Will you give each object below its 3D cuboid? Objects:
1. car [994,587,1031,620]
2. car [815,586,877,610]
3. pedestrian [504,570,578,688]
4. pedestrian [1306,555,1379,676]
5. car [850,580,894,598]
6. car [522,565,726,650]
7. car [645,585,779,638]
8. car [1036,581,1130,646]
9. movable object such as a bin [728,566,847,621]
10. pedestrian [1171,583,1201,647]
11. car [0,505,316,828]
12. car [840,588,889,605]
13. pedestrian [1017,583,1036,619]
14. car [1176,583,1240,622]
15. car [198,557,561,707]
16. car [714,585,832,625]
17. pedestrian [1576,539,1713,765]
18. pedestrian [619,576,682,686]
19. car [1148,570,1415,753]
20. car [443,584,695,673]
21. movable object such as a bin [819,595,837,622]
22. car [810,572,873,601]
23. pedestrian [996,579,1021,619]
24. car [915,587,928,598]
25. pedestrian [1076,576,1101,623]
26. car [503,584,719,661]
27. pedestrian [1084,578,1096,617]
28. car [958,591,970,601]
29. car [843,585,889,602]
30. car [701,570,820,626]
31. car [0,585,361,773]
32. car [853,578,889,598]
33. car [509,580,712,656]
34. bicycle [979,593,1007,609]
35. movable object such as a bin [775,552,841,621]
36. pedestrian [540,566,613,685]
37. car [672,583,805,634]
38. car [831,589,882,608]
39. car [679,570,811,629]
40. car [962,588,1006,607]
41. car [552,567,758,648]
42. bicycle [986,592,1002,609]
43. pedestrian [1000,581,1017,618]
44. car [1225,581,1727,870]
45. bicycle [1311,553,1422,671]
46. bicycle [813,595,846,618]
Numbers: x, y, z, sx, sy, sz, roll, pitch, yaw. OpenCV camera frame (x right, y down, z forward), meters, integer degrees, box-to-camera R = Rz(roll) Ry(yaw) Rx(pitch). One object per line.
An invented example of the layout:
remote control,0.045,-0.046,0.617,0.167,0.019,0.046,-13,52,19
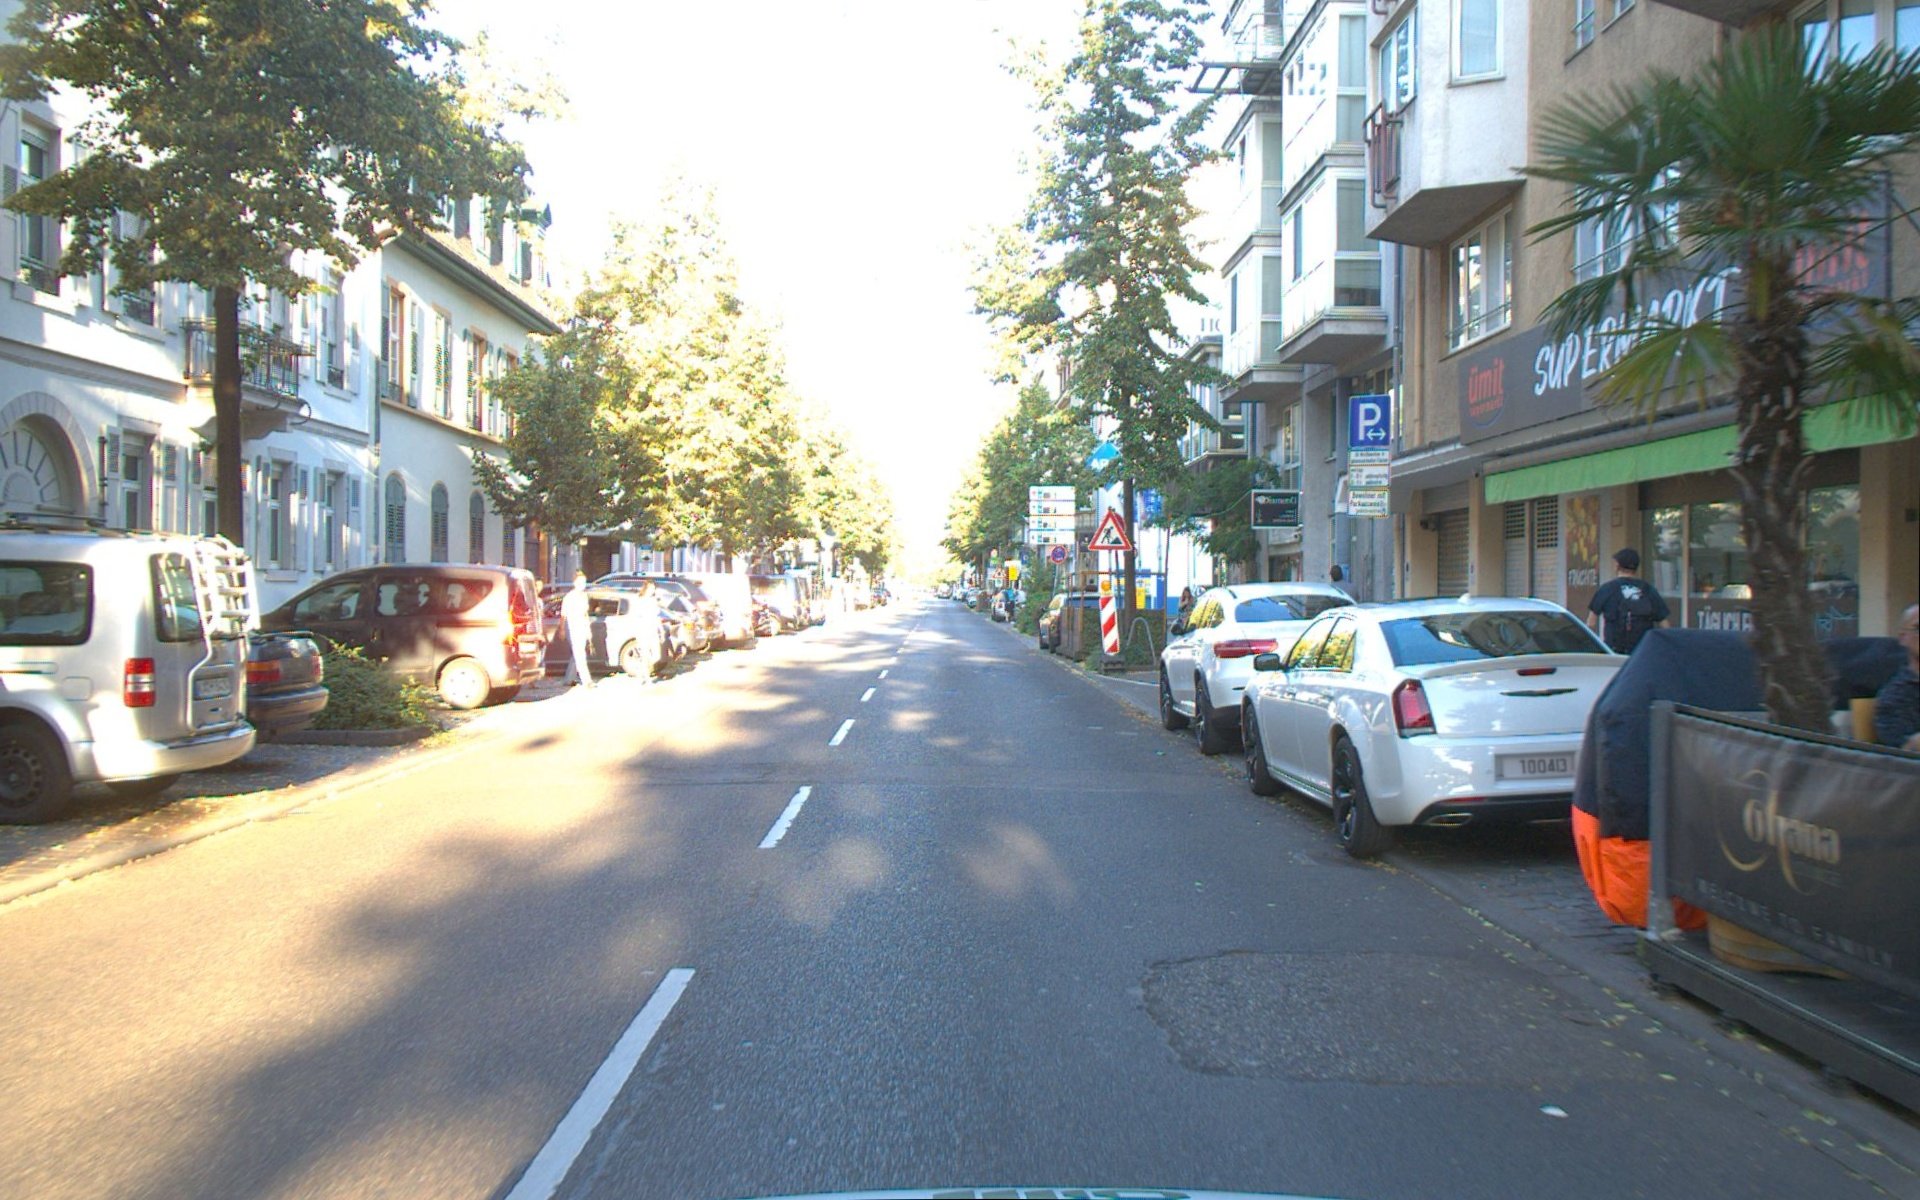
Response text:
car,2.653,0.159,83.960,1.652,1.602,4.012,-2,0,-1
car,-8.539,-0.153,124.342,4.478,1.727,2.060,1,0,0
pedestrian,-6.242,0.426,24.675,0.902,1.725,0.762,0,0,0
pedestrian,5.890,0.233,25.513,0.839,1.826,0.996,-1,0,-4
car,-9.018,-1.145,169.876,4.351,1.789,1.919,1,0,0
car,-7.747,0.173,38.440,4.338,1.902,1.894,0,0,0
car,-7.707,0.349,51.634,3.841,1.527,1.905,1,0,1
car,3.090,0.311,42.424,1.792,1.514,4.847,-2,0,-3
movable object such as a bin,-8.289,-0.317,80.081,2.273,2.539,5.719,1,0,42
pedestrian,5.533,0.359,40.474,0.598,1.552,0.773,-1,0,-1
car,-6.984,0.382,11.257,4.407,1.987,1.919,1,0,1
car,-8.805,-0.313,152.501,4.351,1.474,1.919,1,0,0
pedestrian,3.235,0.033,80.481,0.648,1.730,0.657,-2,0,-45
car,9.619,0.116,64.484,1.699,1.456,4.907,-1,-1,-1
car,-7.442,0.388,21.474,4.053,1.838,1.807,0,0,1
car,-7.590,0.180,67.257,4.499,1.495,1.893,1,0,2
pedestrian,5.432,0.399,13.161,0.772,1.734,0.700,-1,0,-1
pedestrian,-4.806,0.472,25.747,0.810,1.667,0.827,0,0,0
car,3.211,0.542,17.477,1.841,1.601,4.691,-2,0,0
car,-6.689,0.470,28.583,3.978,1.487,1.685,0,0,-3
movable object such as a bin,-5.529,0.361,69.233,0.675,1.124,0.883,0,0,1
car,-8.672,-0.988,121.674,4.479,1.996,1.990,1,0,-1
pedestrian,2.270,-0.044,77.884,0.995,1.857,0.778,-2,0,-11
car,-5.588,-1.132,238.537,1.716,1.567,3.303,0,0,0
pedestrian,5.280,-0.025,68.023,0.806,1.886,1.097,-2,0,-2
car,-7.014,0.434,33.546,3.955,1.509,1.962,0,0,-1
pedestrian,6.423,-0.119,81.673,0.452,1.908,0.499,0,0,-16
car,0.534,-0.562,219.795,1.482,1.298,3.303,1,0,0
car,-9.268,-0.632,163.368,4.351,1.549,1.919,1,0,0
car,-7.709,-0.085,64.264,4.394,2.010,1.964,1,0,-3
car,-7.426,0.621,14.044,4.067,1.465,1.594,1,0,0
car,-11.196,-1.513,207.413,4.351,2.477,1.919,1,0,0
car,-7.549,0.376,36.003,3.954,1.582,1.965,0,0,1
bicycle,2.307,0.045,115.622,1.918,1.092,0.704,1,0,31
movable object such as a bin,-6.865,-0.589,75.498,2.571,3.021,5.302,0,0,-1
pedestrian,-5.888,0.380,25.420,0.902,1.790,0.762,-1,0,0
car,-7.278,0.269,54.682,4.242,1.527,1.840,1,0,-6
car,-9.086,-0.101,145.859,4.351,1.595,1.919,1,0,0
car,-7.595,-0.032,58.824,4.392,2.010,2.068,1,0,0
car,2.048,-0.203,140.435,1.645,1.616,3.800,1,0,42
car,-7.571,0.175,41.391,4.771,1.941,1.973,0,0,-1
bicycle,2.432,0.060,117.084,0.585,1.198,1.847,1,0,18
pedestrian,2.364,-0.024,80.729,0.665,1.785,0.823,0,0,-11
car,3.241,0.667,11.639,1.804,1.506,5.189,-2,0,-1
bicycle,4.742,0.121,19.417,0.759,1.284,2.050,-2,0,0
bicycle,-6.819,0.333,86.401,1.647,1.097,0.445,3,-1,7
